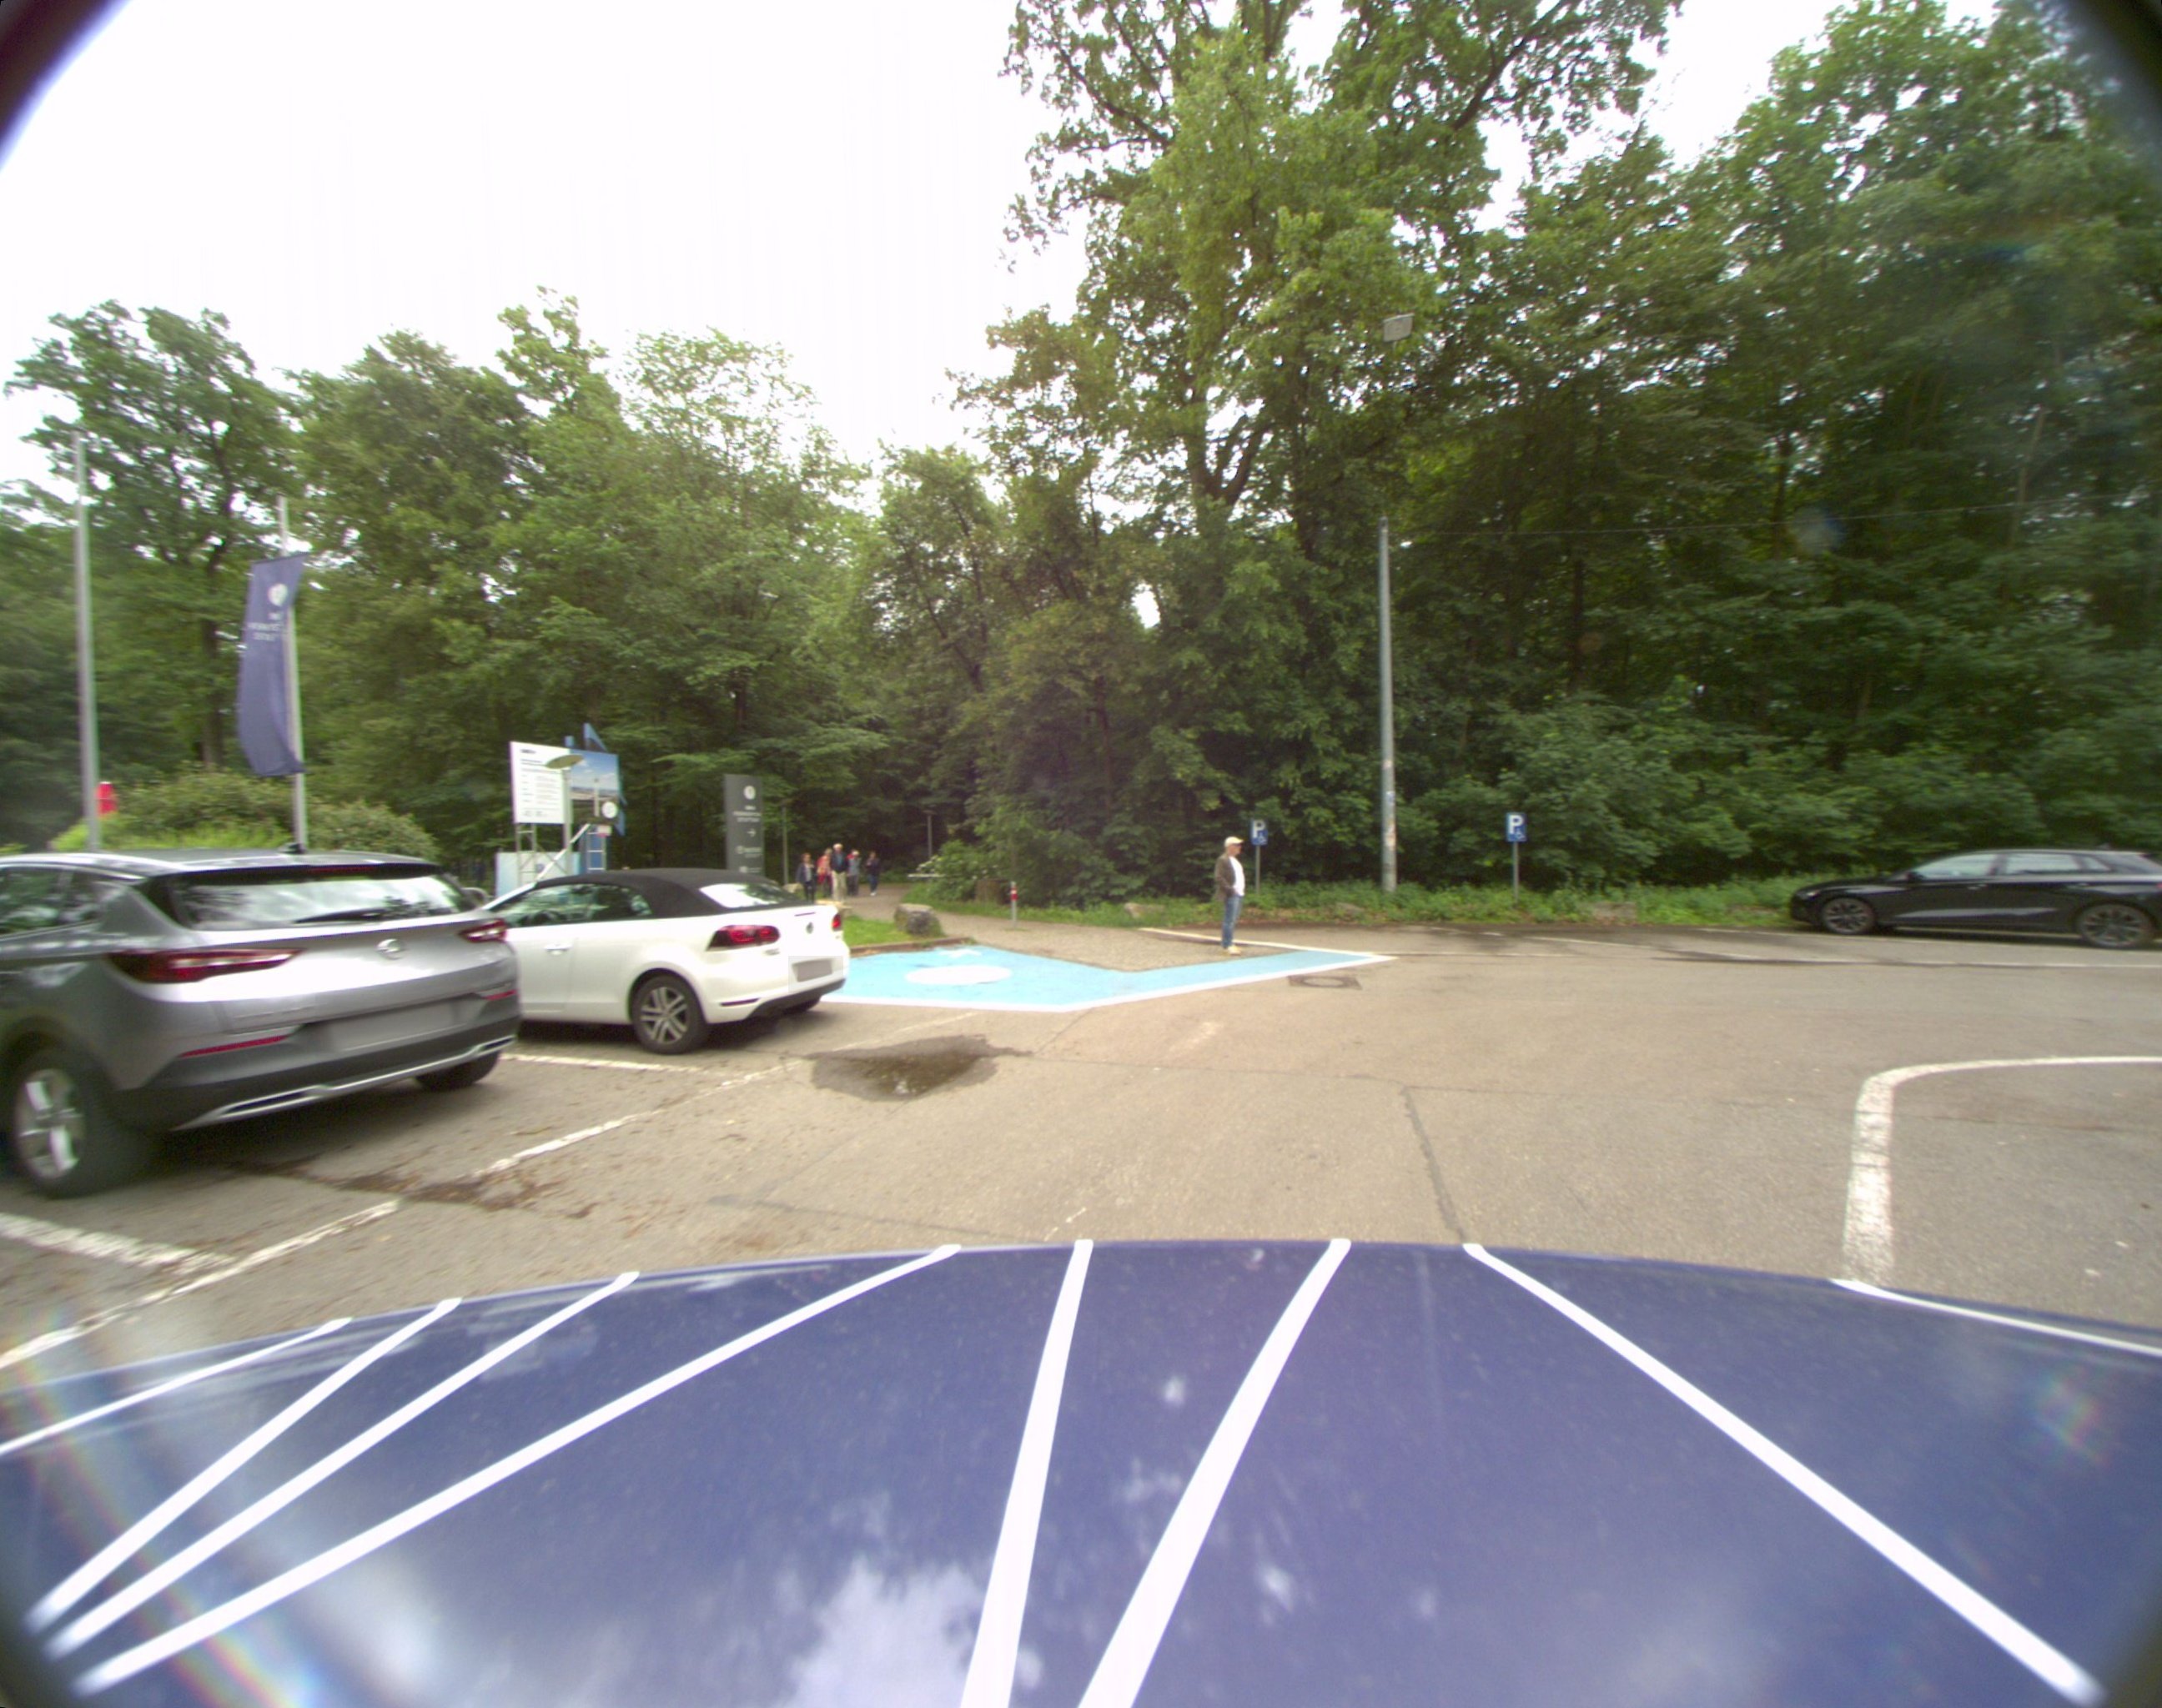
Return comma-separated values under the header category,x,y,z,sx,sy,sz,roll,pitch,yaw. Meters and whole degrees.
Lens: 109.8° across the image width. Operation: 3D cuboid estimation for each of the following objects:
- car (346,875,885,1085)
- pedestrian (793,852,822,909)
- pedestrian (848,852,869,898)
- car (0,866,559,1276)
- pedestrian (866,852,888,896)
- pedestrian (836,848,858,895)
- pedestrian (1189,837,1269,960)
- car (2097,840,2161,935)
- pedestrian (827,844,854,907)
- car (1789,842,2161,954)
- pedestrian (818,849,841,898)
category,x,y,z,sx,sy,sz,roll,pitch,yaw
car,-4.075,0.961,6.880,3.992,1.420,1.901,-1,1,16
pedestrian,-8.172,0.777,22.708,0.779,1.624,0.636,-2,1,-20
pedestrian,-8.266,0.759,28.197,0.609,1.664,0.604,-2,1,-25
car,-5.535,0.908,4.466,3.992,1.576,1.901,-1,1,16
pedestrian,-7.891,0.760,29.361,0.682,1.664,0.661,-2,1,-25
pedestrian,-9.071,0.673,29.414,0.682,1.758,0.712,-2,1,-25
pedestrian,2.171,0.615,11.086,0.894,1.715,0.766,-1,1,33
car,17.940,0.495,10.805,1.913,1.414,3.990,-2,1,-31
pedestrian,-7.537,0.656,23.822,0.735,1.905,0.667,-2,1,-20
car,14.264,0.581,11.955,1.902,1.454,4.195,-1,0,-30
pedestrian,-9.220,0.713,27.823,0.684,1.752,0.604,-2,1,-25
